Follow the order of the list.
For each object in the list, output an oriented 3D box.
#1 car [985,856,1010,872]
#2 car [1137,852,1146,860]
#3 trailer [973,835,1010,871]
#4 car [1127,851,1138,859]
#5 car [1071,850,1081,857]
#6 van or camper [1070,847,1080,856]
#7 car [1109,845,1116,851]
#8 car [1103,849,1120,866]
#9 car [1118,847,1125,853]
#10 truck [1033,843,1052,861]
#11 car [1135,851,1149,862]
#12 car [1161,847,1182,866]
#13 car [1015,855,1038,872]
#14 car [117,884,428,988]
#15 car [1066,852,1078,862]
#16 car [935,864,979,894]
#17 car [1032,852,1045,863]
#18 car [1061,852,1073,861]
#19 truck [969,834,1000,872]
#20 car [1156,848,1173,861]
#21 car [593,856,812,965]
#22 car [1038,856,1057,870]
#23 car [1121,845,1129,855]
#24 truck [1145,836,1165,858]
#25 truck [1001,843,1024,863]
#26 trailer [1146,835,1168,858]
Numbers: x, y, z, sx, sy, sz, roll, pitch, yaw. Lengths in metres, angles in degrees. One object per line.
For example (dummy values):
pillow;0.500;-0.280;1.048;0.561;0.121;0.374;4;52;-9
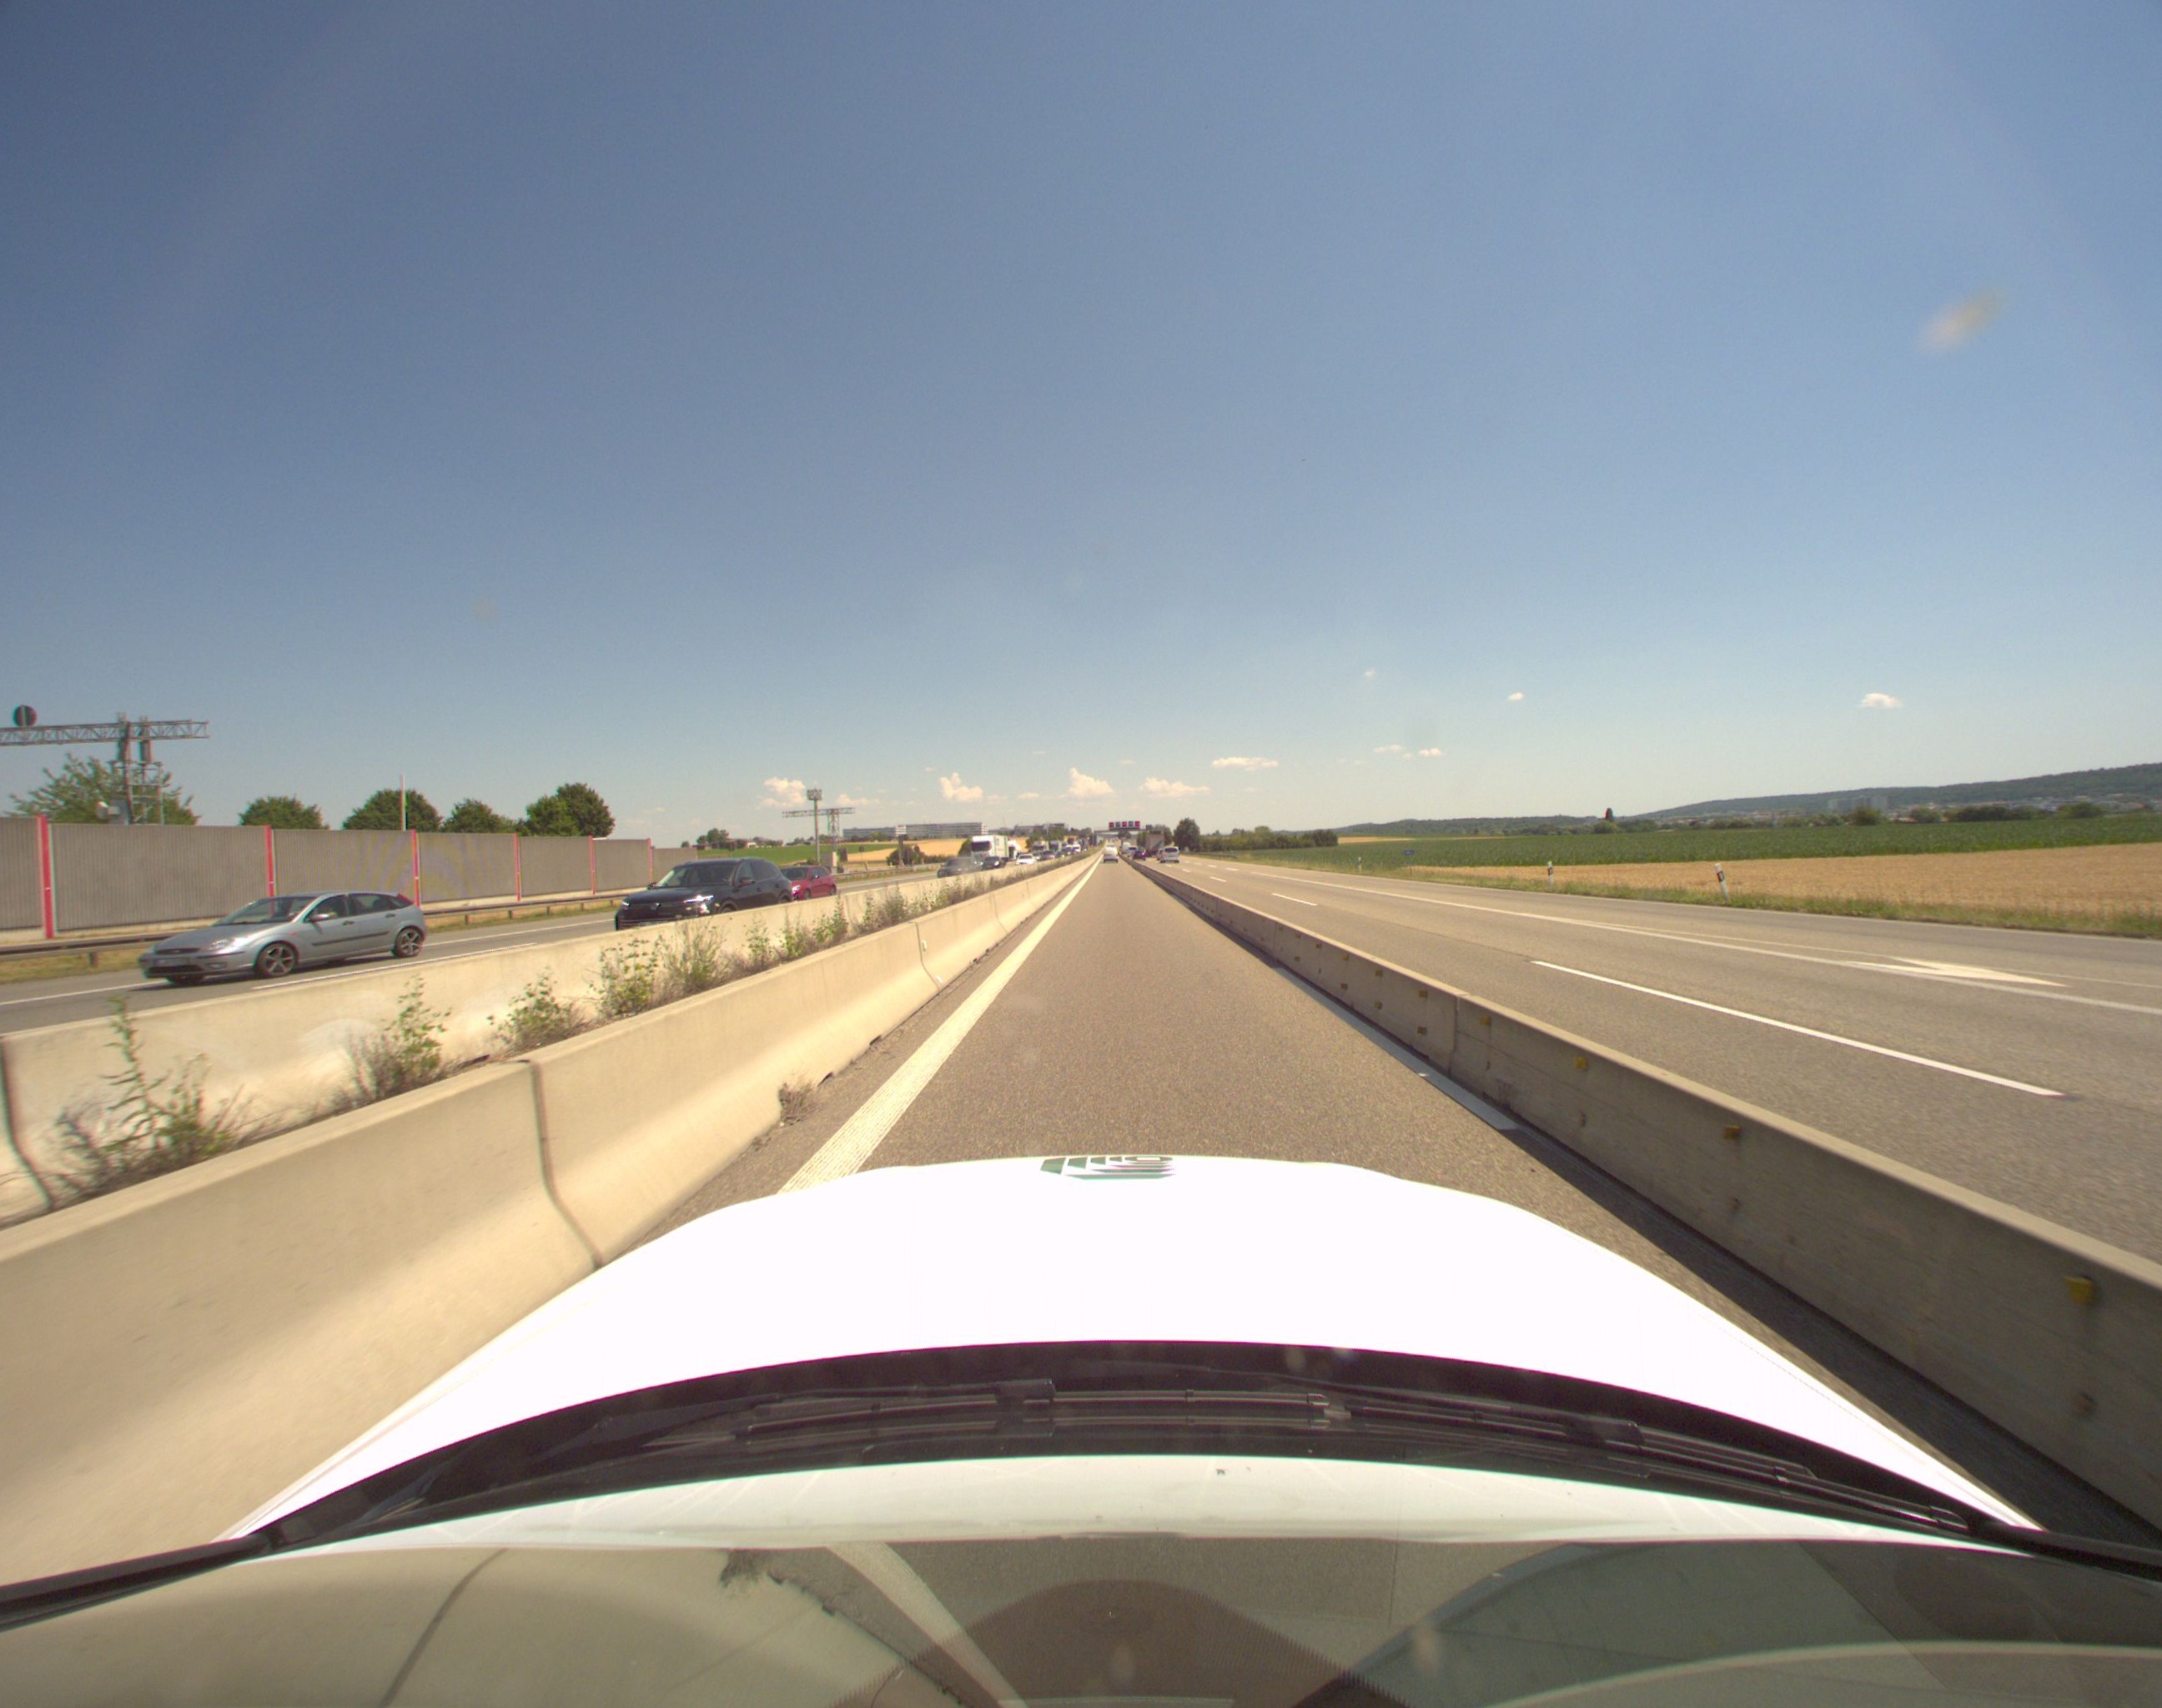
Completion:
car;-8.087;0.973;79.394;1.805;1.486;4.965;-1;0;2
car;14.579;0.506;195.061;1.986;2.013;4.002;-1;0;2
trailer;-11.603;-0.147;106.972;2.882;4.375;12.999;-3;0;2
car;9.330;0.185;146.943;1.766;1.447;4.002;-1;0;2
car;-0.986;-0.112;170.819;1.775;1.589;4.543;-1;0;2
van or camper;-1.415;-0.588;199.504;2.028;2.221;7.211;0;0;2
car;9.504;-1.700;245.608;1.986;1.835;4.002;-1;0;2
car;3.641;0.443;98.500;1.986;2.013;4.002;-1;0;2
car;12.897;-1.117;258.876;1.986;1.835;4.002;-1;0;2
truck;-8.503;-0.518;180.188;2.784;3.609;13.297;-4;0;2
car;8.487;0.306;113.112;1.766;1.447;4.002;-1;0;2
car;10.355;0.259;93.433;1.986;2.120;4.002;-1;0;2
car;-5.131;0.862;77.481;1.668;1.519;4.510;-1;0;2
car;-14.529;1.388;15.013;1.649;1.519;4.002;0;0;2
car;-1.578;0.531;147.073;1.836;1.569;5.347;-1;0;2
car;-6.764;1.353;44.770;1.649;1.519;4.002;-1;0;2
car;-6.608;0.547;126.475;1.649;1.651;4.668;-1;0;2
car;-2.275;0.457;132.049;1.649;1.351;4.269;-1;0;2
truck;-11.826;-0.165;100.074;2.860;4.375;4.905;-3;0;2
car;11.484;0.092;112.440;1.986;1.794;4.002;-1;0;2
car;-7.202;0.964;16.156;1.986;1.759;4.646;-1;1;2
car;-4.154;1.074;101.672;1.883;1.617;4.823;-1;0;2
car;10.209;-0.870;187.812;1.766;2.392;4.002;-1;0;2
truck;13.420;-1.223;147.883;3.259;3.967;4.914;-1;0;2
truck;-13.787;-0.211;164.615;2.889;3.776;13.291;-4;0;1
trailer;13.284;-1.259;143.639;3.265;3.967;9.116;-1;0;2
